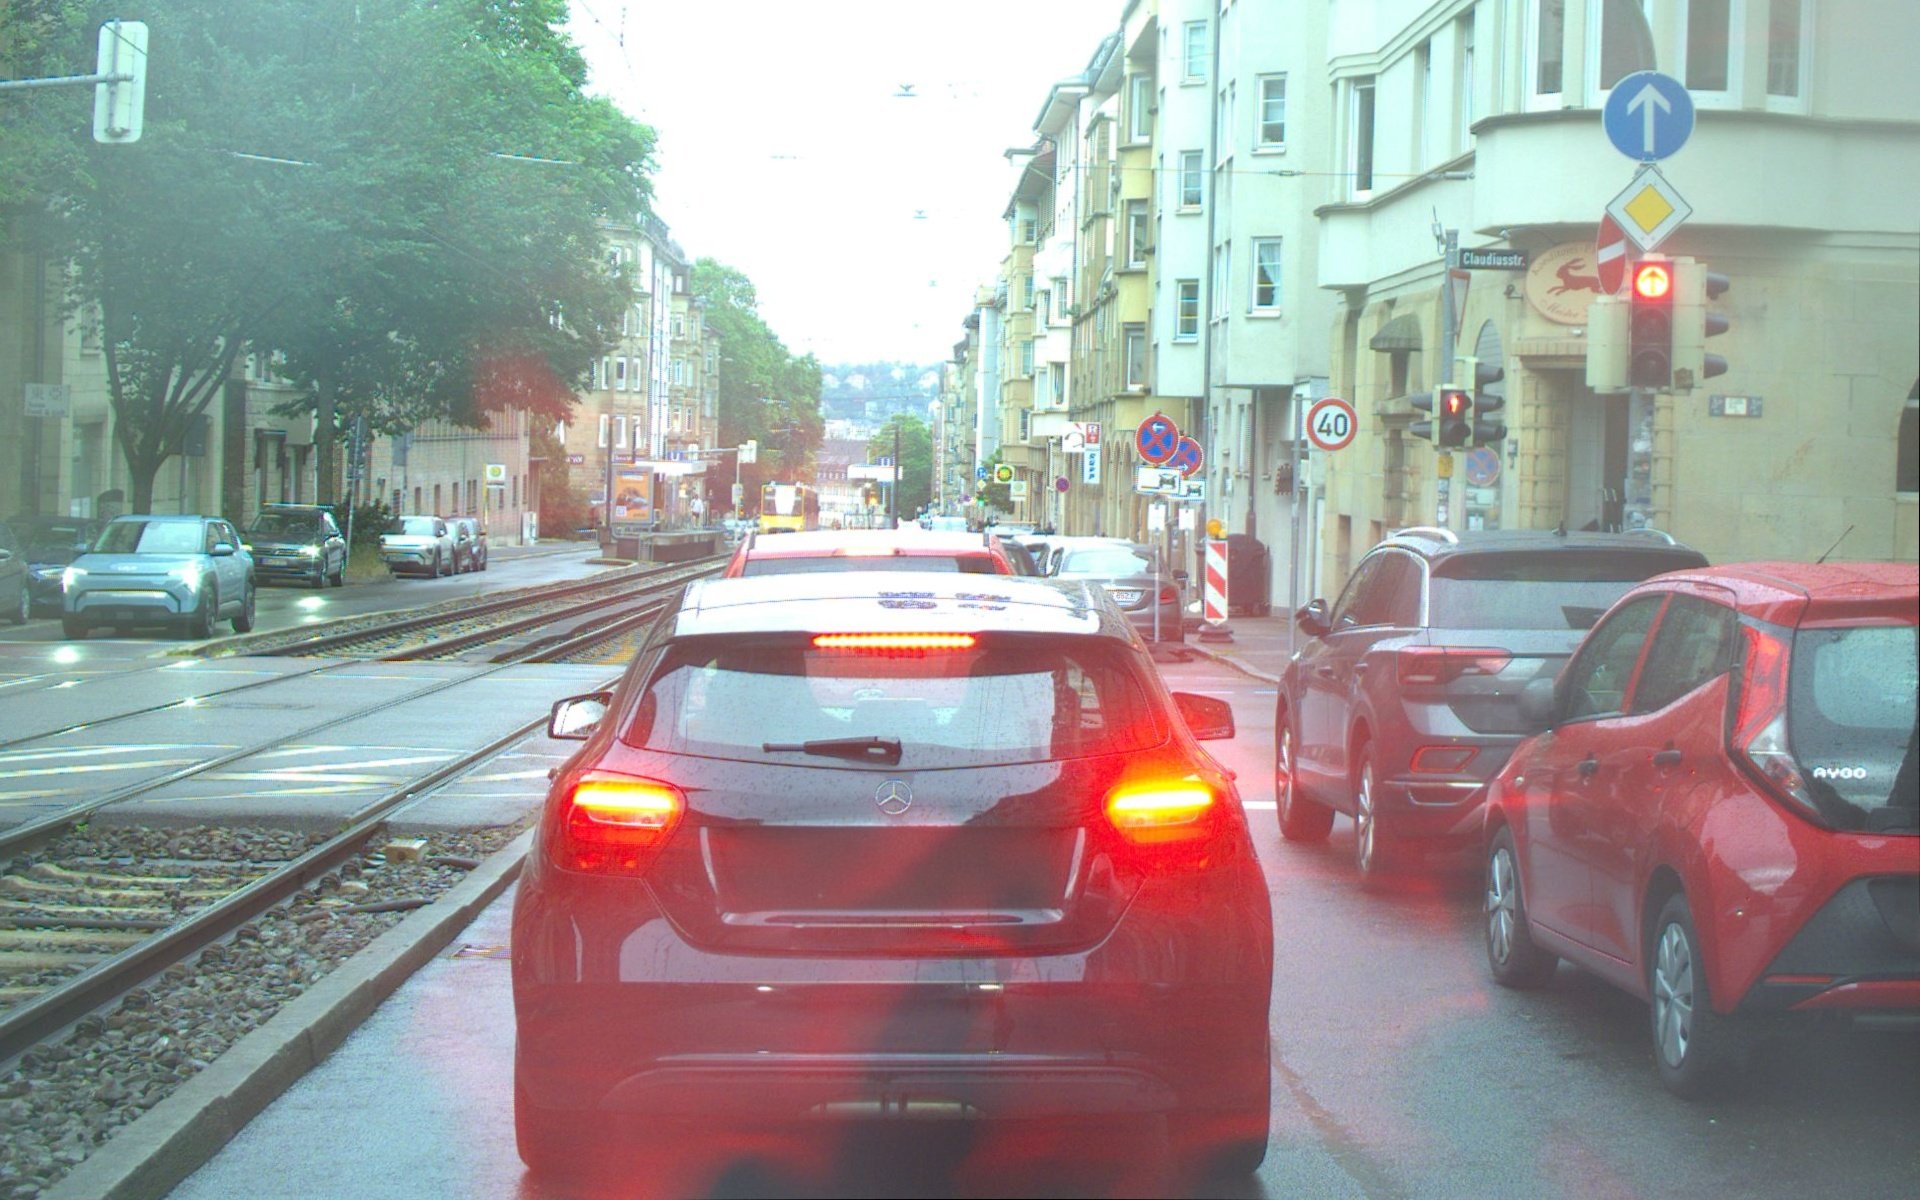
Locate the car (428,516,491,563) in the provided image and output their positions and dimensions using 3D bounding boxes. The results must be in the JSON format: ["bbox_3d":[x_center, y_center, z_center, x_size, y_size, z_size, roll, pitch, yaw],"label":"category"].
[{"bbox_3d":[-14.341,-1.725,98.582,1.448,1.326,3.272,1,0,-2],"label":"car"}]

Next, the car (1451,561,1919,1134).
[{"bbox_3d":[2.652,0.632,10.533,1.642,1.443,3.299,1,1,-3],"label":"car"}]

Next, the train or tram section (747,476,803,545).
[{"bbox_3d":[-10.842,-5.214,202.086,2.783,3.847,10.430,1,0,-1],"label":"train or tram section"}]

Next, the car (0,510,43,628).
[{"bbox_3d":[-13.483,-0.426,45.700,1.752,1.547,4.036,1,0,-4],"label":"car"}]

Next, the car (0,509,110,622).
[{"bbox_3d":[-13.736,-0.514,50.731,1.716,1.605,3.919,1,0,-5],"label":"car"}]

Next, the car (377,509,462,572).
[{"bbox_3d":[-13.997,-1.538,89.172,1.589,1.575,3.918,1,0,-1],"label":"car"}]

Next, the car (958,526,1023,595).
[{"bbox_3d":[0.633,-0.858,73.602,1.294,1.437,2.929,1,1,-1],"label":"car"}]

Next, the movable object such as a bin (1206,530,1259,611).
[{"bbox_3d":[4.712,-0.505,59.580,0.878,1.384,0.982,1,0,3],"label":"movable object such as a bin"}]

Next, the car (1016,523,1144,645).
[{"bbox_3d":[1.612,-0.247,47.124,1.544,1.585,3.548,1,1,-1],"label":"car"}]

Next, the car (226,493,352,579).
[{"bbox_3d":[-13.958,-1.320,71.709,1.875,1.731,3.918,1,0,-1],"label":"car"}]

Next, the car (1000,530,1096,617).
[{"bbox_3d":[1.553,-0.500,61.533,1.544,1.481,3.548,1,1,-1],"label":"car"}]

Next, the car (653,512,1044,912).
[{"bbox_3d":[-0.477,0.437,15.852,1.565,1.604,3.814,1,0,-1],"label":"car"}]

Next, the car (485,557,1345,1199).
[{"bbox_3d":[-0.124,0.639,9.465,1.829,1.453,4.104,1,1,-1],"label":"car"}]

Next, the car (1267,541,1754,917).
[{"bbox_3d":[2.388,0.488,15.772,1.544,1.481,3.830,1,1,-1],"label":"car"}]

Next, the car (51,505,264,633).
[{"bbox_3d":[-10.458,-0.410,45.086,1.898,1.582,3.973,1,0,-1],"label":"car"}]

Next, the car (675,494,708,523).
[{"bbox_3d":[-12.317,-4.208,157.782,1.377,1.245,3.298,1,0,-2],"label":"car"}]

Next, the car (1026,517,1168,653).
[{"bbox_3d":[1.669,-0.210,42.649,1.544,1.585,3.548,1,1,-1],"label":"car"}]

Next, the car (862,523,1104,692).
[{"bbox_3d":[0.179,0.039,35.501,1.544,1.630,3.687,1,1,-15],"label":"car"}]

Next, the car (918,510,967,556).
[{"bbox_3d":[-0.755,-2.827,146.033,1.993,1.870,4.000,1,0,-1],"label":"car"}]
